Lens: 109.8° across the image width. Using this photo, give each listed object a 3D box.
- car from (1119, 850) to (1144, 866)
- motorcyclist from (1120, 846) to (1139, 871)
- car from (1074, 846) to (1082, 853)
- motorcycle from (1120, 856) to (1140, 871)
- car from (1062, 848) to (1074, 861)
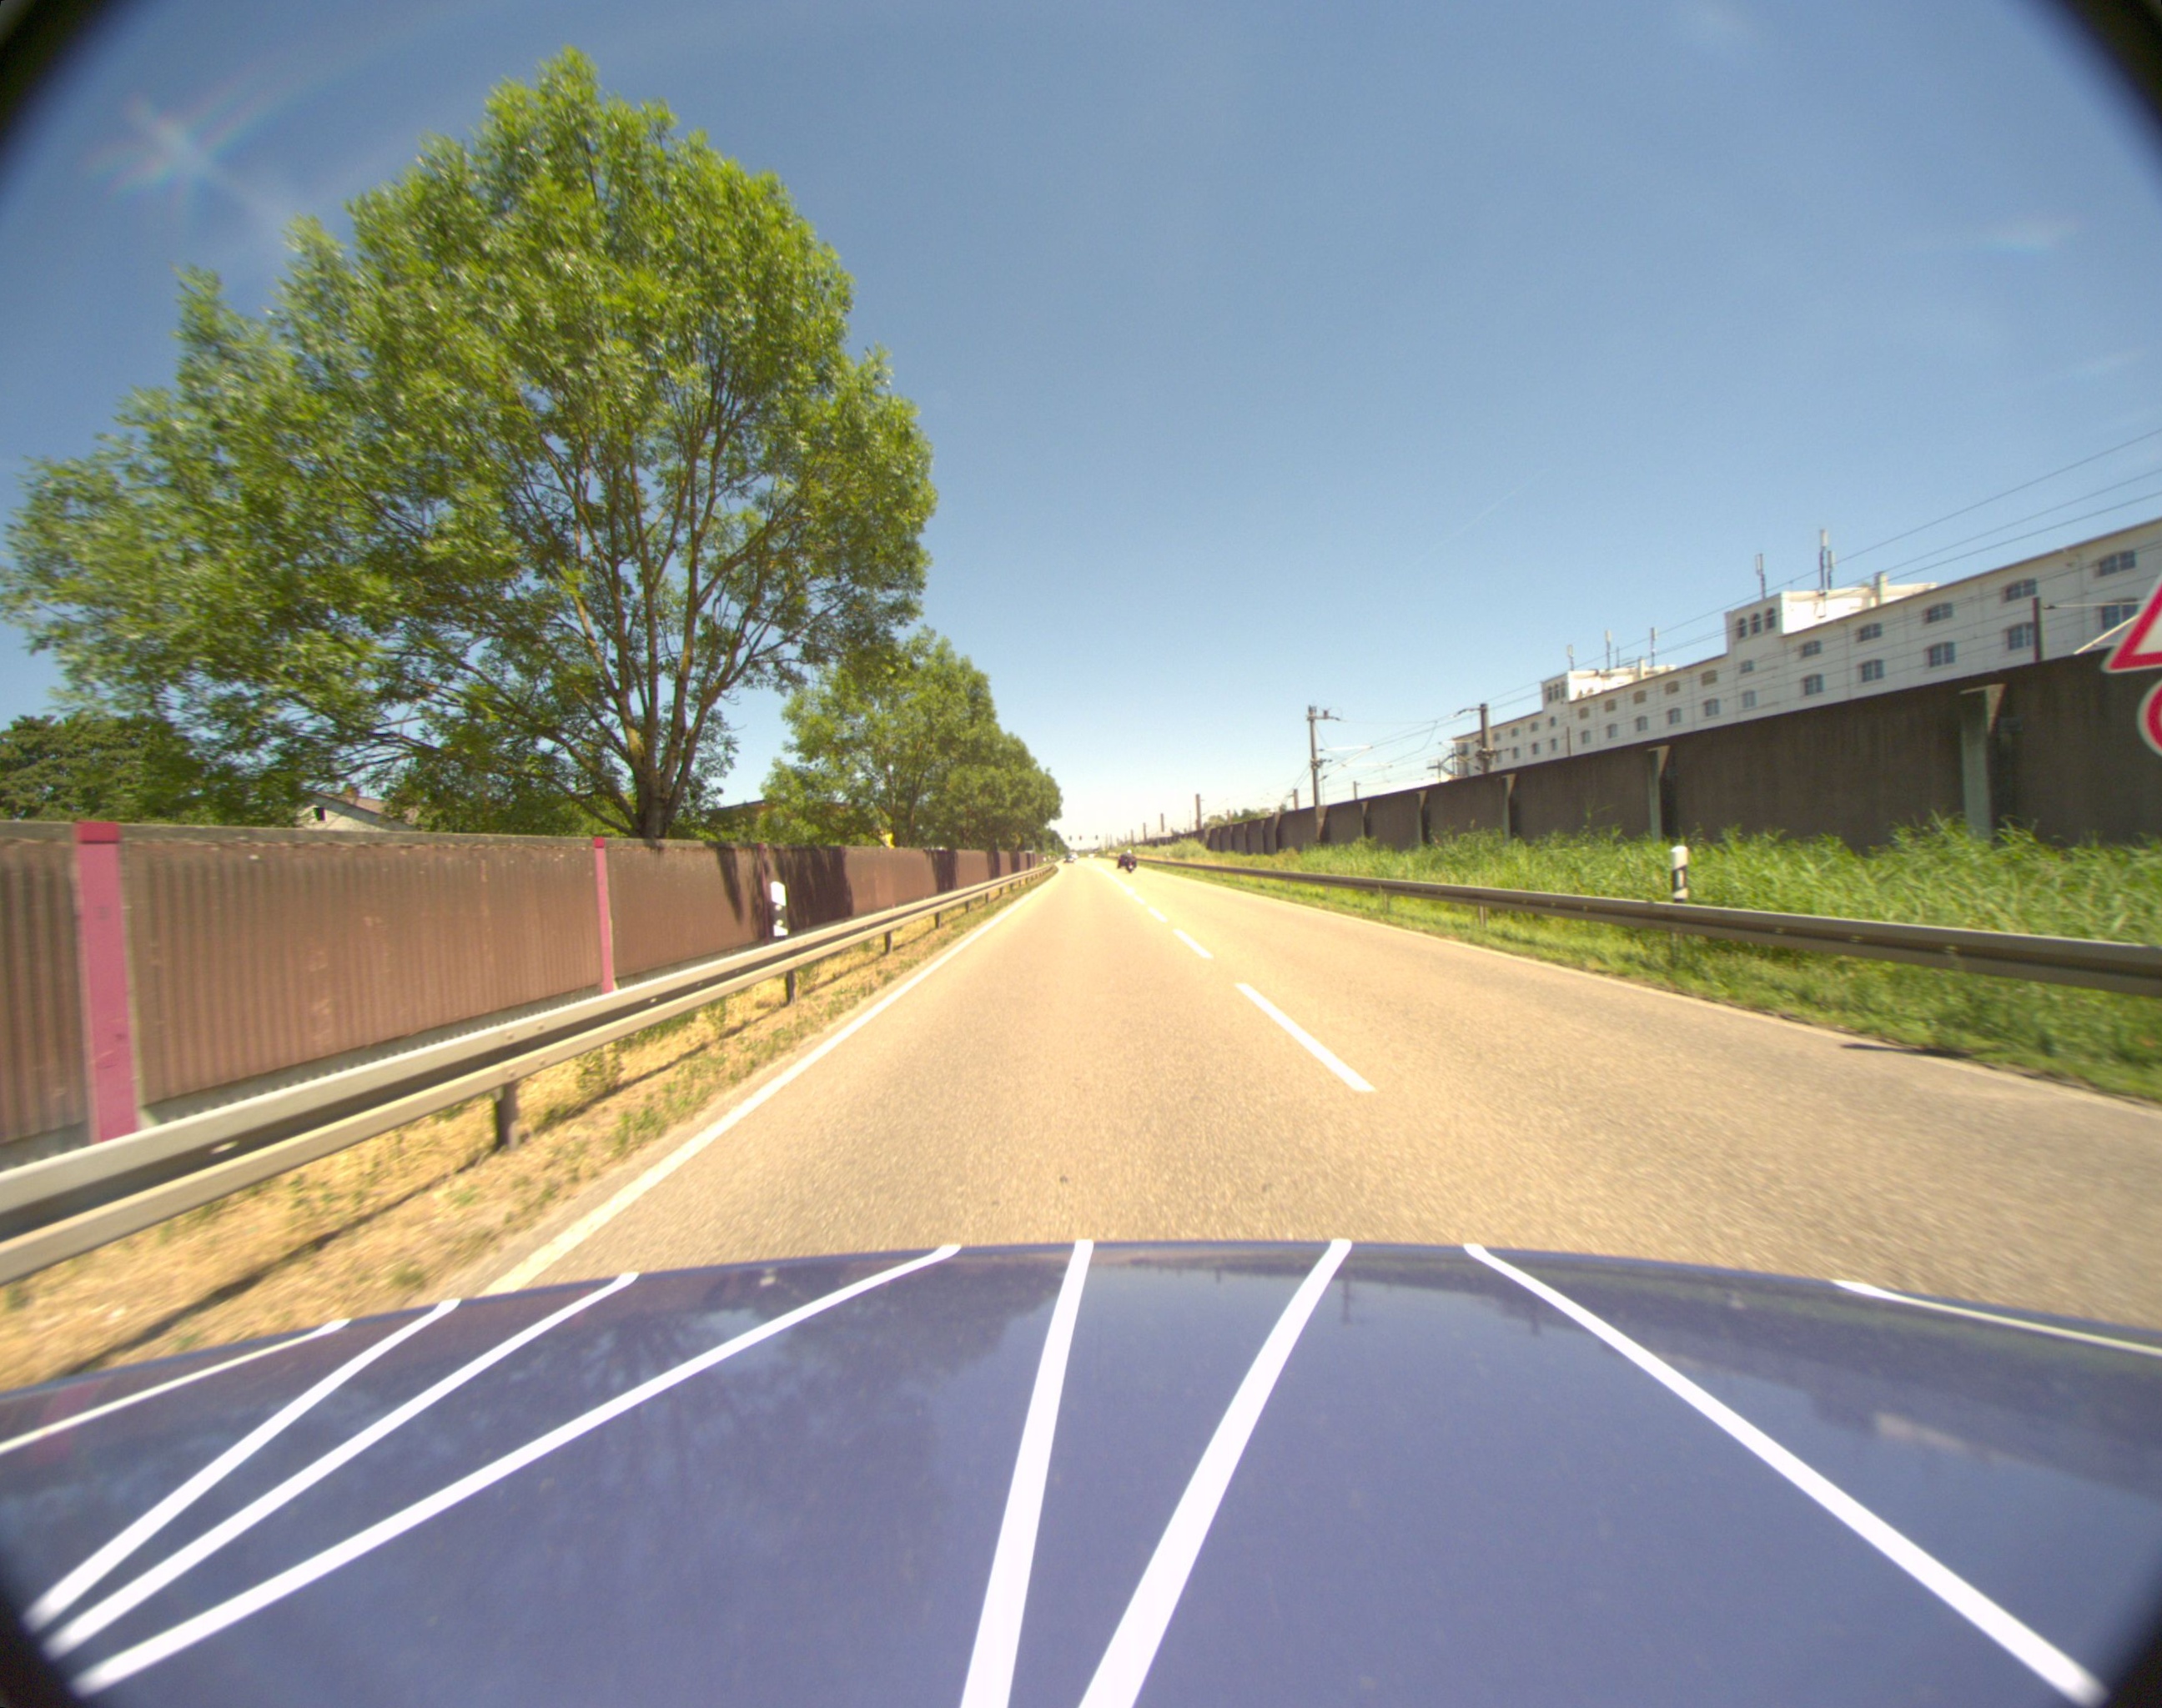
[{"bbox_3d":[4.929,0.347,74.484,1.999,1.499,3.999,-2,0,-1],"label":"car"},{"bbox_3d":[3.641,0.324,57.255,1.257,1.853,1.245,-2,1,0],"label":"motorcyclist"},{"bbox_3d":[-0.810,-1.278,211.784,1.999,2.002,3.999,-3,1,-1],"label":"car"},{"bbox_3d":[3.673,0.716,57.205,1.240,1.066,3.129,-2,0,0],"label":"motorcycle"},{"bbox_3d":[-2.224,0.072,132.839,1.999,2.002,3.999,-2,0,-1],"label":"car"}]
